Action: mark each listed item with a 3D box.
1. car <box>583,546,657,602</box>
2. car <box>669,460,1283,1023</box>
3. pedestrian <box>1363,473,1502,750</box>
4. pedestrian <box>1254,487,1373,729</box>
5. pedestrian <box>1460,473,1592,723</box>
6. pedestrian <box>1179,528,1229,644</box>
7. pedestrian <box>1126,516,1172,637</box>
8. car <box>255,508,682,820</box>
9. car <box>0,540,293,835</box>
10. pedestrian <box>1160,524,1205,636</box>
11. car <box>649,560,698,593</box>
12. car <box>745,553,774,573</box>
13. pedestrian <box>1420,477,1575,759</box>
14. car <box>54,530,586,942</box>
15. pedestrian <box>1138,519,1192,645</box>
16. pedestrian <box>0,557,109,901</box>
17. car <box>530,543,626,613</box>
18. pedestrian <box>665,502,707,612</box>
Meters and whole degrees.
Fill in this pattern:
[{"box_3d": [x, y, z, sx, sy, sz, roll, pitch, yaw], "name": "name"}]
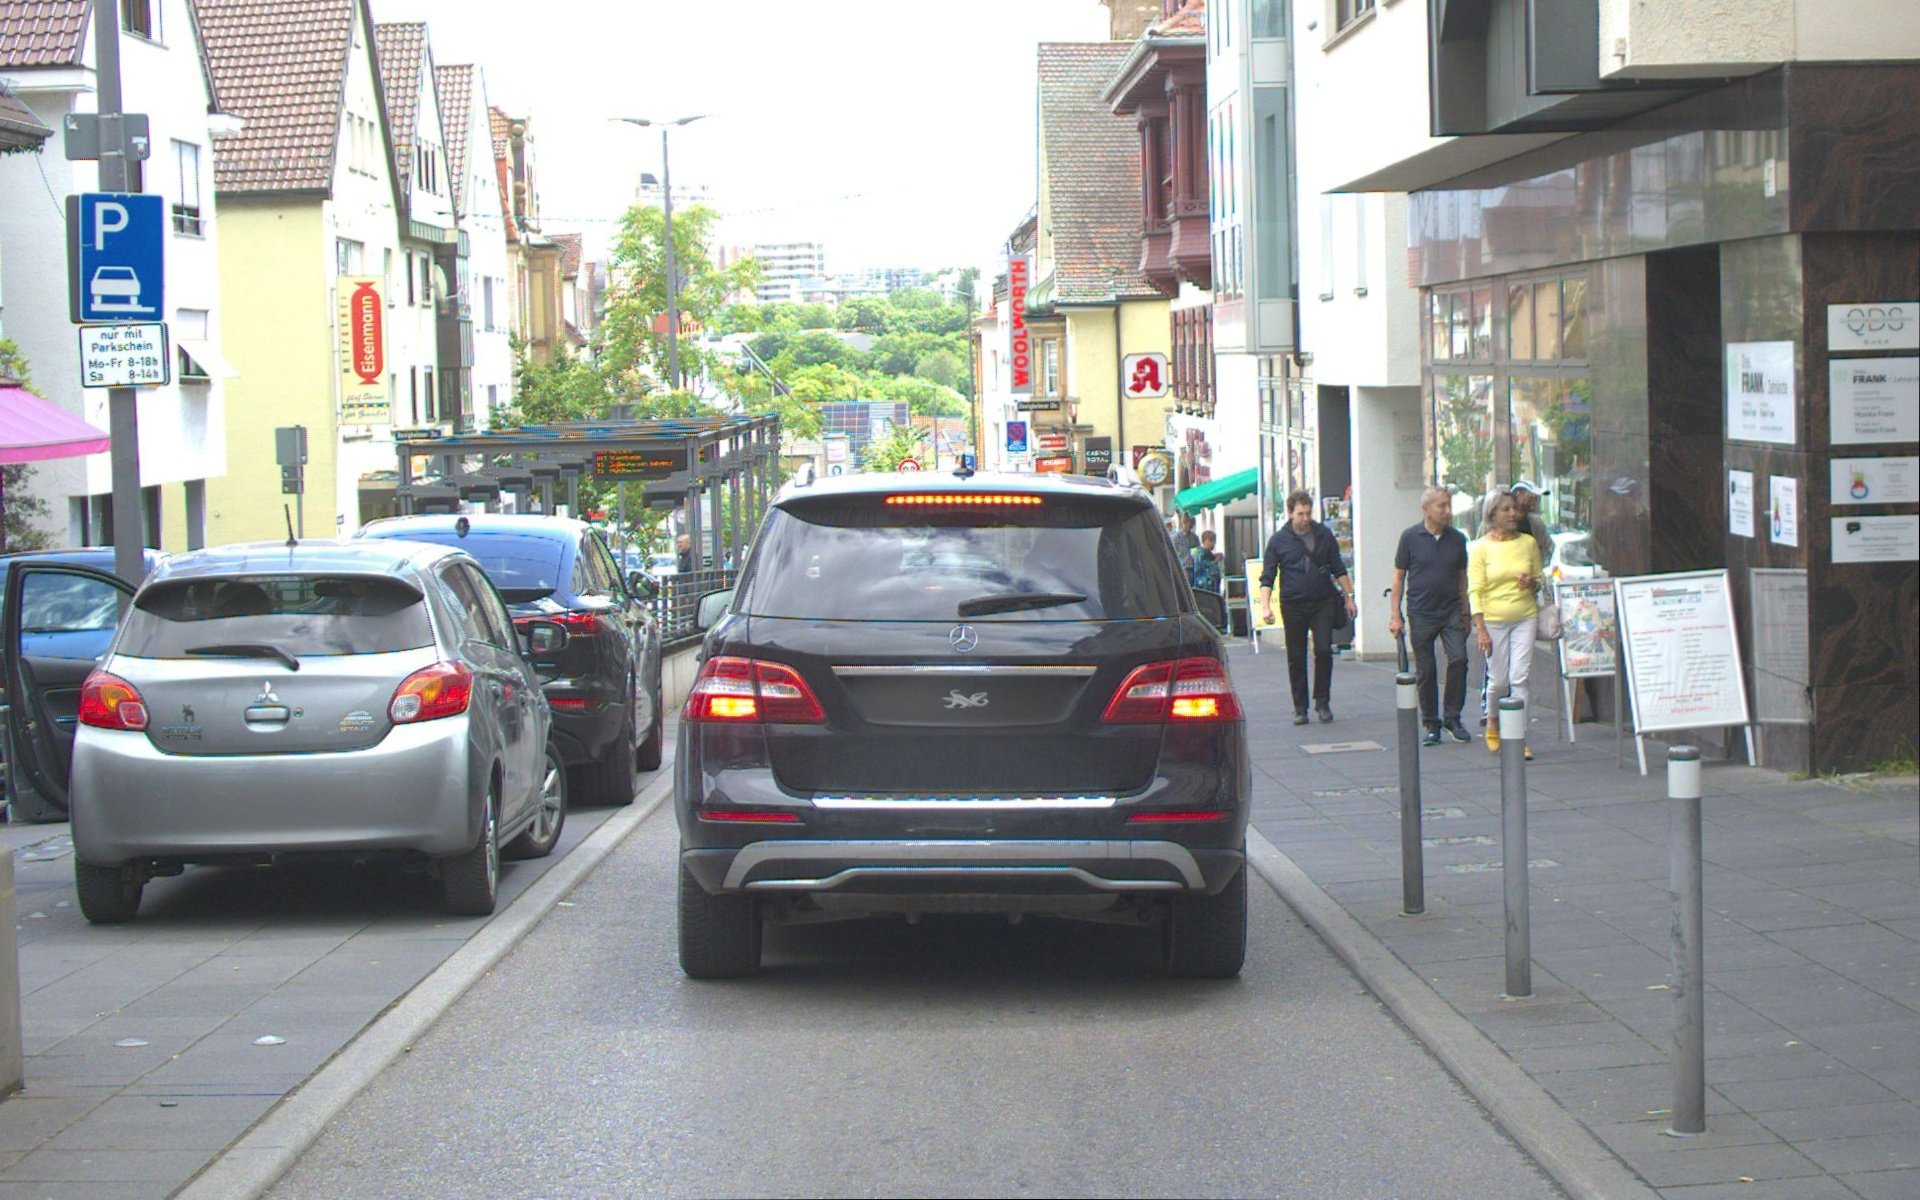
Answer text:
[{"box_3d": [-9.247, -0.714, 93.612, 1.660, 1.485, 3.748, 1, 1, 0], "name": "car"}, {"box_3d": [-0.031, 0.412, 12.703, 1.900, 1.741, 4.001, 0, 1, -2], "name": "car"}, {"box_3d": [3.081, 0.066, 22.474, 0.711, 1.747, 0.785, -3, 1, 0], "name": "pedestrian"}, {"box_3d": [2.637, 0.051, 25.686, 0.711, 1.747, 0.787, -3, 1, -1], "name": "pedestrian"}, {"box_3d": [3.949, -0.019, 24.010, 0.662, 1.683, 0.543, -5, 1, -7], "name": "pedestrian"}, {"box_3d": [3.617, -0.216, 51.003, 0.573, 1.683, 0.566, -3, 1, -7], "name": "pedestrian"}, {"box_3d": [2.737, -0.346, 49.751, 0.542, 1.720, 0.528, -2, 1, -7], "name": "pedestrian"}, {"box_3d": [-2.770, 0.306, 20.318, 1.956, 1.634, 4.315, 0, 1, -1], "name": "car"}, {"box_3d": [-5.202, 0.427, 20.054, 1.739, 1.470, 3.884, 1, 2, 2], "name": "car"}, {"box_3d": [3.354, -0.307, 51.864, 0.573, 1.683, 0.566, 0, 1, -7], "name": "pedestrian"}, {"box_3d": [-9.670, -0.802, 116.173, 1.388, 1.066, 3.113, -2, 1, 0], "name": "car"}, {"box_3d": [-11.071, -2.057, 189.860, 1.388, 1.066, 3.113, -2, 1, 0], "name": "car"}, {"box_3d": [3.218, 0.098, 20.642, 0.711, 1.625, 0.835, -3, 1, -1], "name": "pedestrian"}, {"box_3d": [-2.584, 0.478, 14.640, 1.620, 1.527, 3.670, 0, 1, -1], "name": "car"}, {"box_3d": [2.753, -0.241, 46.140, 0.621, 1.683, 0.566, 0, 1, -7], "name": "pedestrian"}, {"box_3d": [-3.960, 0.542, 14.658, 0.466, 1.427, 0.492, -3, 1, 0], "name": "pedestrian"}, {"box_3d": [-8.471, -0.508, 76.474, 1.689, 1.485, 3.979, 1, 1, 0], "name": "car"}, {"box_3d": [-4.224, -0.661, 53.053, 0.611, 1.683, 0.563, 1, 1, -2], "name": "pedestrian"}]
